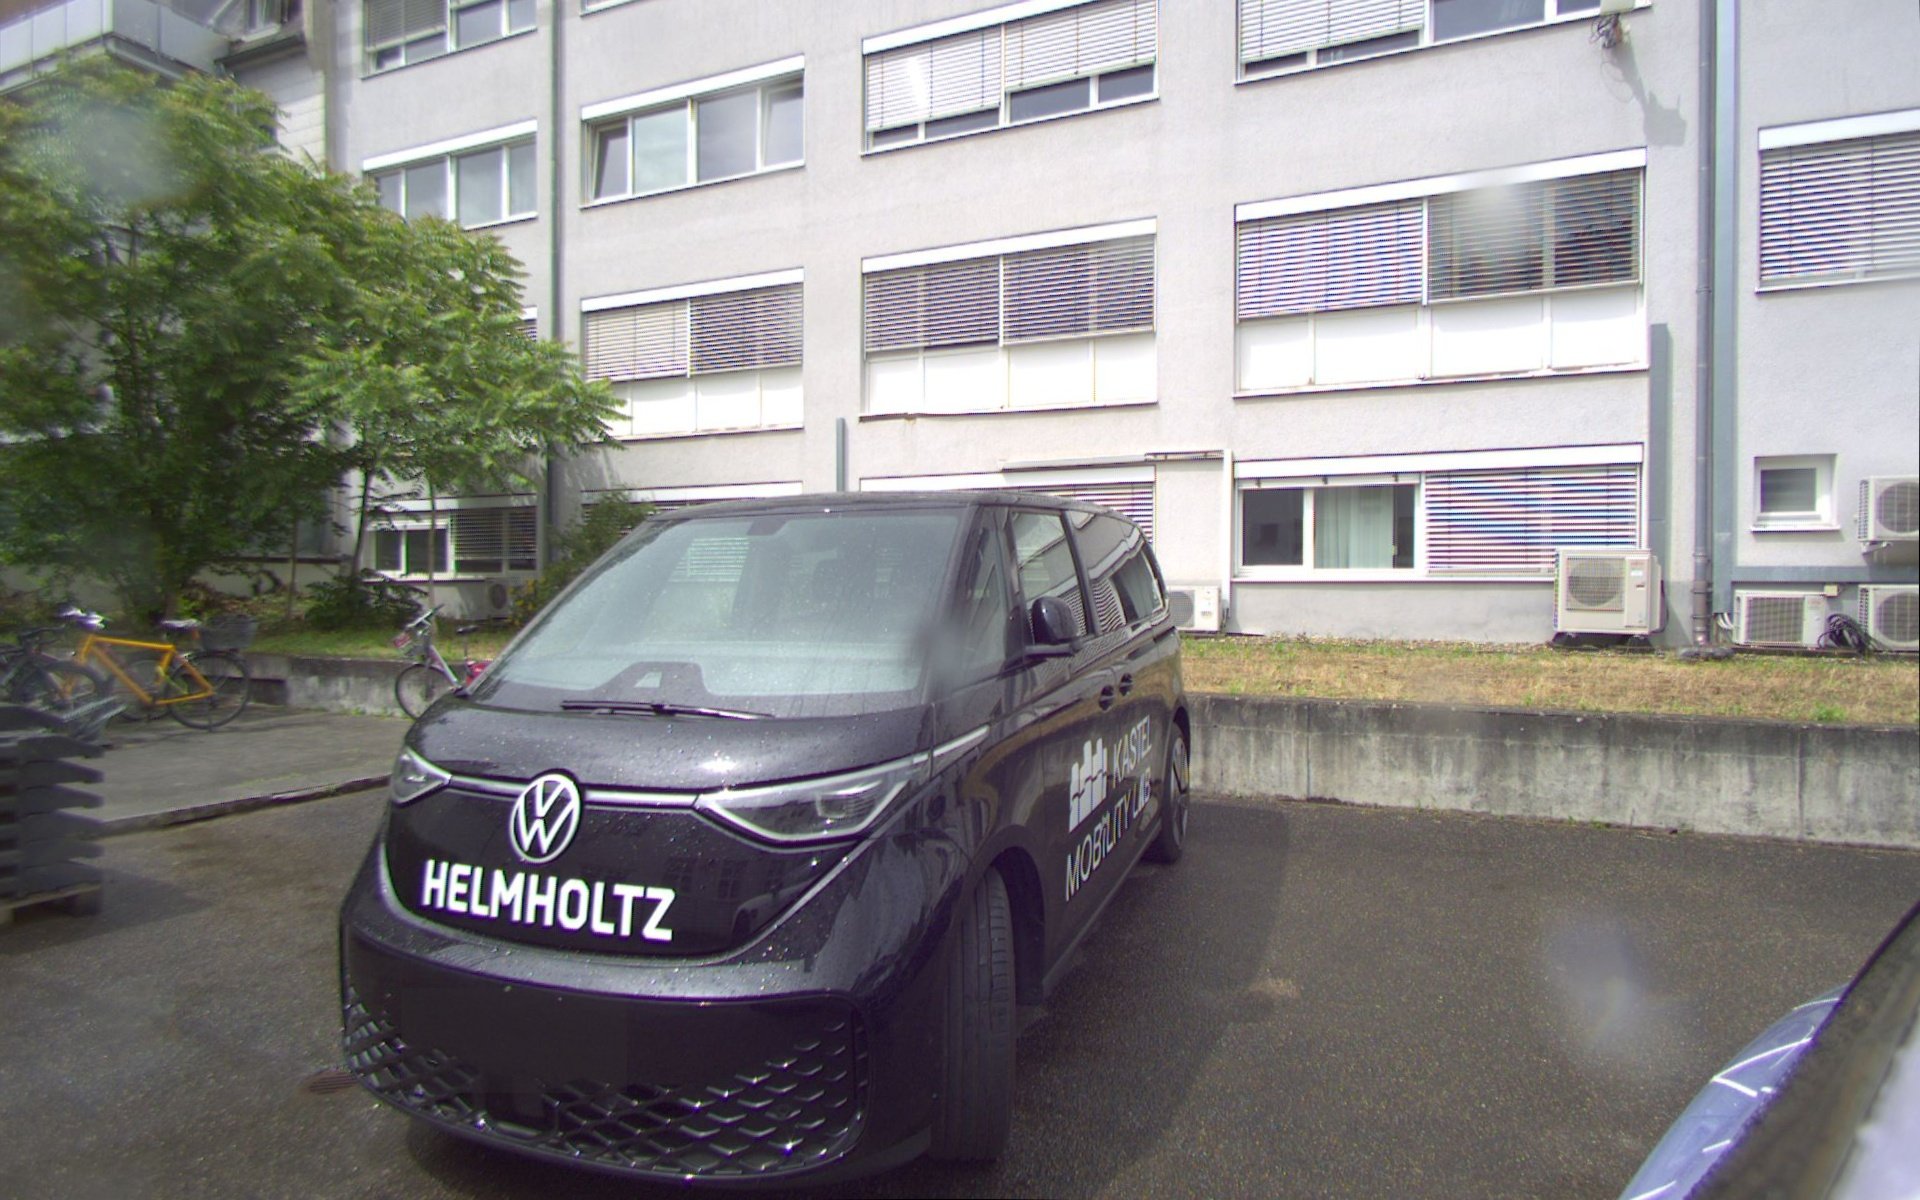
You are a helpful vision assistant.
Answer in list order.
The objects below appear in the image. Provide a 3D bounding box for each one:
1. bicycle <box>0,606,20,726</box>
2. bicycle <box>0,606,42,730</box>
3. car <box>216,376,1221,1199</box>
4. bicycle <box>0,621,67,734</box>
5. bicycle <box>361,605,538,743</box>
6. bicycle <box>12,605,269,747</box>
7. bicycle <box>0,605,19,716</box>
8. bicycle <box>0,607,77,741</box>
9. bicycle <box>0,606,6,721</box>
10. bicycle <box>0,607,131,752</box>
[{"bbox_3d":[-9.436,0.628,8.897,0.339,1.118,1.742,1,1,22],"label":"bicycle"},{"bbox_3d":[-9.108,0.627,8.770,0.329,1.118,1.742,1,1,22],"label":"bicycle"},{"bbox_3d":[-0.142,0.462,4.428,1.947,1.888,4.715,0,2,21],"label":"car"},{"bbox_3d":[-8.792,0.696,8.647,0.326,0.979,1.783,1,1,22],"label":"bicycle"},{"bbox_3d":[-4.657,0.634,9.201,1.779,1.117,0.443,1,3,27],"label":"bicycle"},{"bbox_3d":[-7.235,0.620,9.040,0.364,1.118,1.777,1,1,30],"label":"bicycle"},{"bbox_3d":[-10.173,0.623,9.669,0.351,1.118,1.742,1,1,22],"label":"bicycle"},{"bbox_3d":[-8.429,0.628,8.299,0.352,1.118,1.777,1,1,30],"label":"bicycle"},{"bbox_3d":[-9.830,0.626,9.170,0.342,1.118,1.742,1,1,22],"label":"bicycle"},{"bbox_3d":[-7.696,0.628,7.975,0.402,1.118,1.777,1,1,30],"label":"bicycle"}]
